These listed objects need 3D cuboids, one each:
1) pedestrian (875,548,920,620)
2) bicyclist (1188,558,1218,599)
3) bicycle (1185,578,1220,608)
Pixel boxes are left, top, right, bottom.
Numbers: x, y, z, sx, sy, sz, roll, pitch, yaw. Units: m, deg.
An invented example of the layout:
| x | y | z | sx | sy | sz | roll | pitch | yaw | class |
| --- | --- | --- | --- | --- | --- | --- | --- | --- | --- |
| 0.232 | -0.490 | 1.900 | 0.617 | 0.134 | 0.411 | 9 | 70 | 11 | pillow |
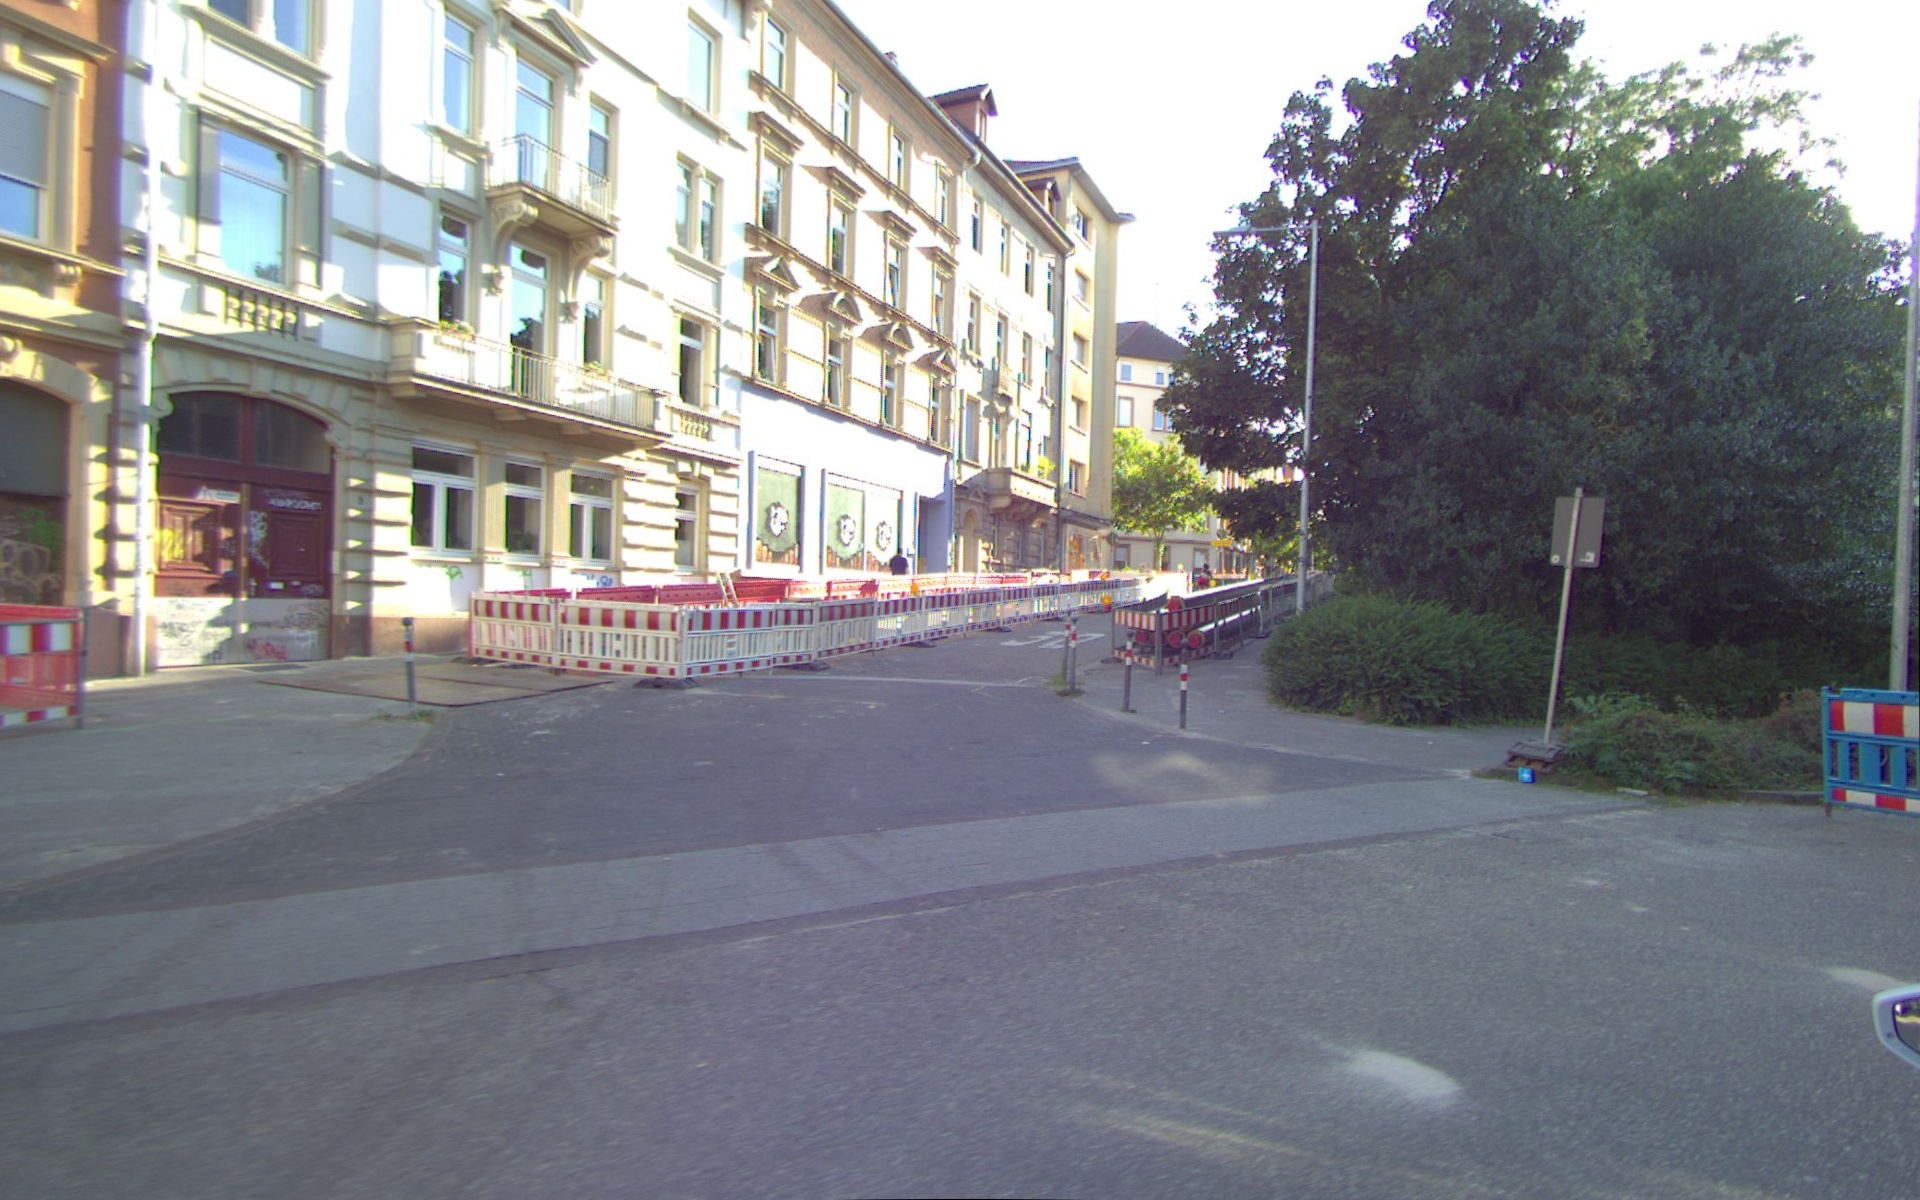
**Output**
| x | y | z | sx | sy | sz | roll | pitch | yaw | class |
| --- | --- | --- | --- | --- | --- | --- | --- | --- | --- |
| -1.816 | -0.472 | 29.191 | 0.925 | 2.041 | 0.958 | 1 | 1 | 26 | pedestrian |
| 8.443 | -0.736 | 34.858 | 0.790 | 1.402 | 0.984 | 2 | 1 | 25 | bicyclist |
| 8.424 | -0.241 | 34.846 | 0.790 | 0.981 | 2.106 | 2 | 1 | 24 | bicycle |
